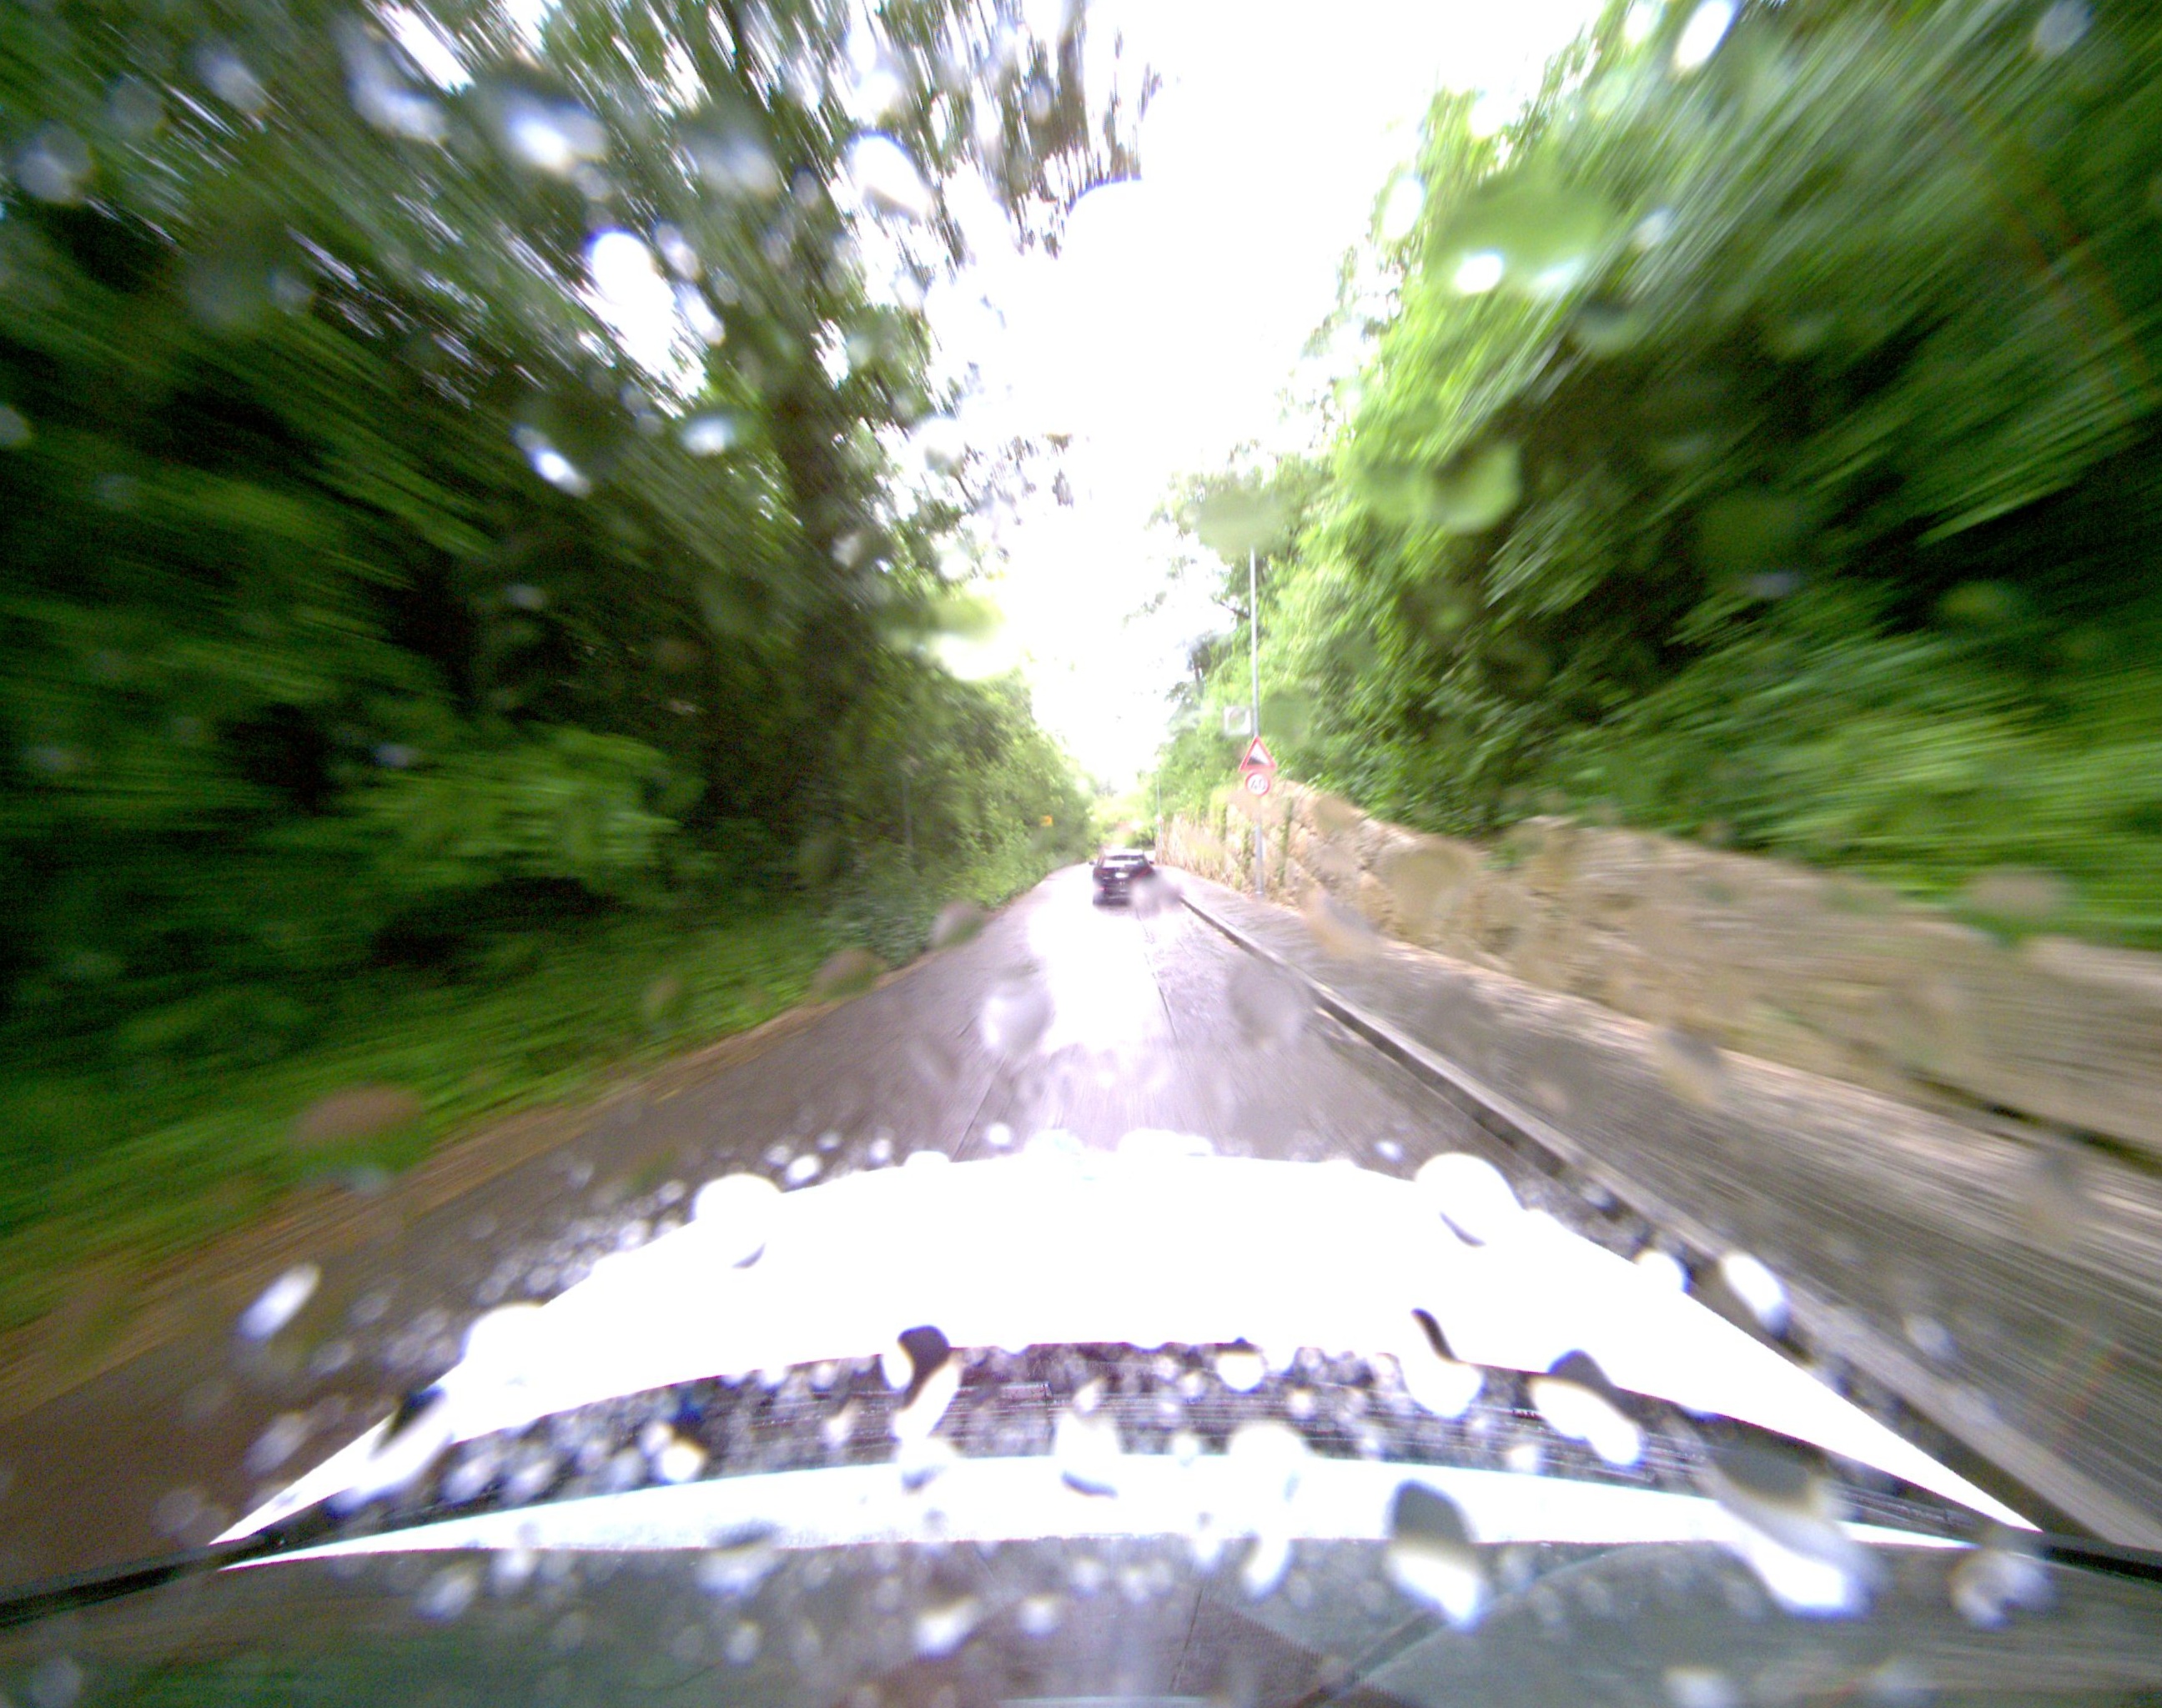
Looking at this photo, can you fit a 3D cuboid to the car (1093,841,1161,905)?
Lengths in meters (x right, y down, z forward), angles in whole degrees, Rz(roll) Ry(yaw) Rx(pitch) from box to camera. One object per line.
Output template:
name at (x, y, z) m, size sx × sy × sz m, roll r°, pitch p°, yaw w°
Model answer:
car at (1.234, 0.467, 23.302) m, size 1.694 × 1.449 × 4.001 m, roll -2°, pitch 4°, yaw 0°

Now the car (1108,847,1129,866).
car at (3.404, 0.206, 74.905) m, size 1.856 × 1.743 × 4.001 m, roll 1°, pitch 0°, yaw 1°
